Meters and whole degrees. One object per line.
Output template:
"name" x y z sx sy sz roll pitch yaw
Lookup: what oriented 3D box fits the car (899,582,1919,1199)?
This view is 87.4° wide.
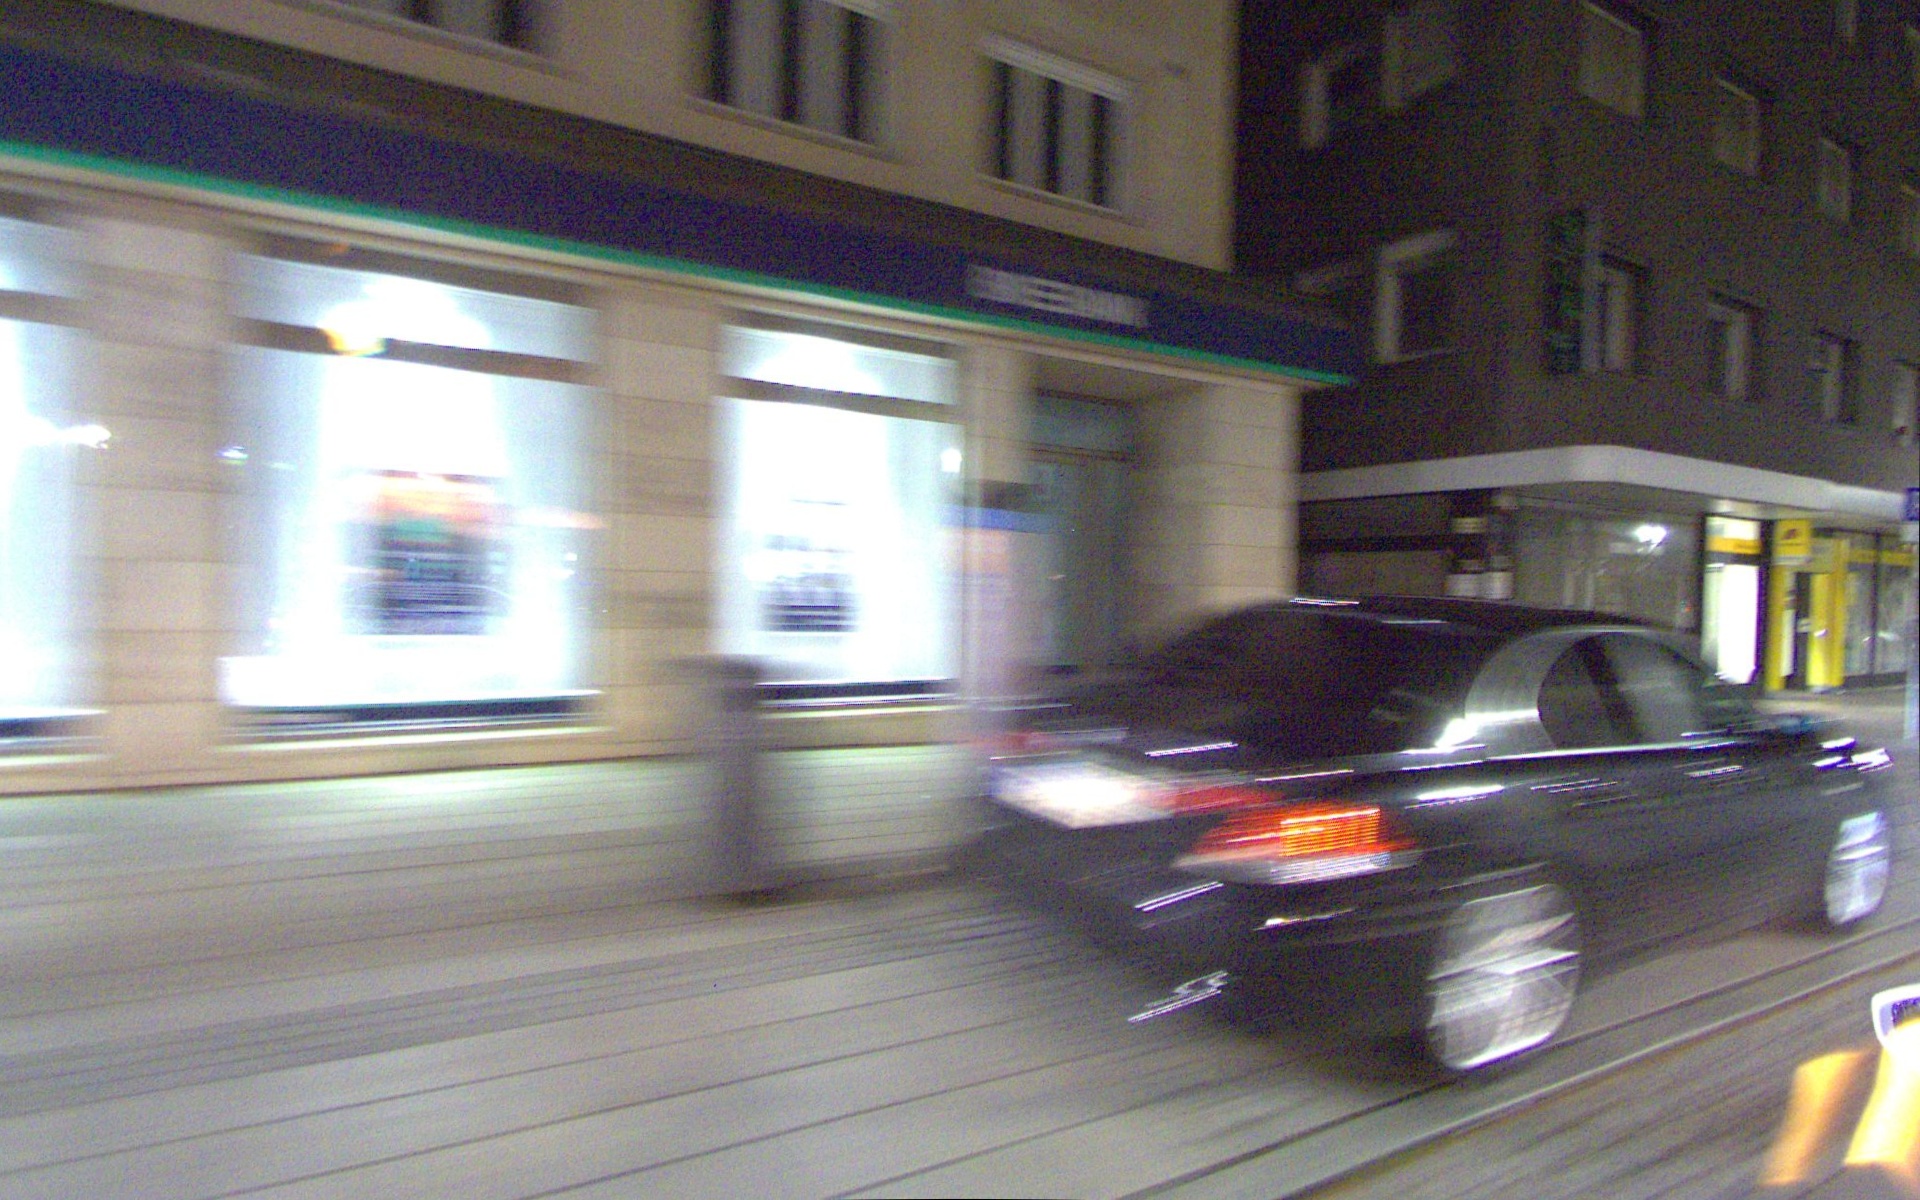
"car" 2.191 0.747 4.357 4.572 1.484 1.834 1 2 -32
